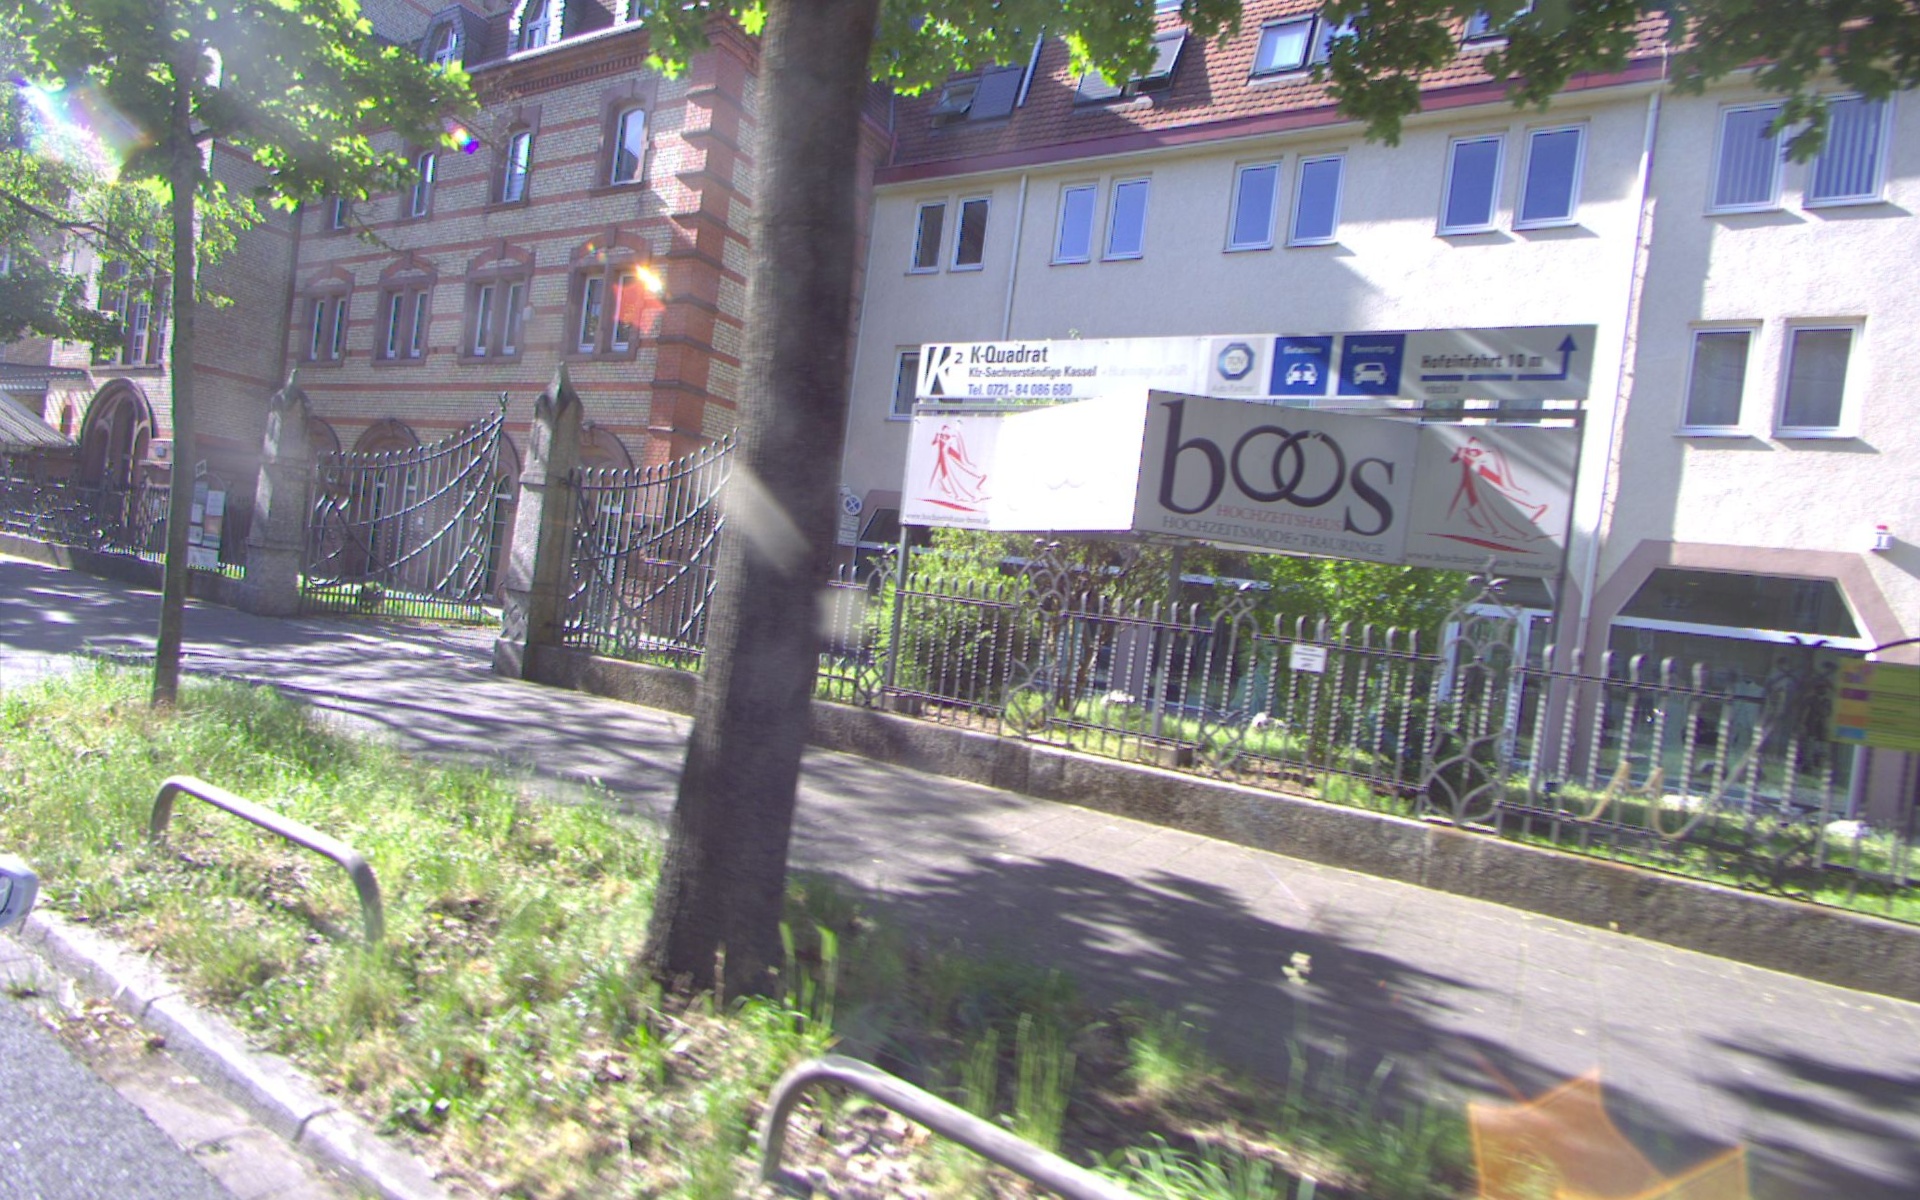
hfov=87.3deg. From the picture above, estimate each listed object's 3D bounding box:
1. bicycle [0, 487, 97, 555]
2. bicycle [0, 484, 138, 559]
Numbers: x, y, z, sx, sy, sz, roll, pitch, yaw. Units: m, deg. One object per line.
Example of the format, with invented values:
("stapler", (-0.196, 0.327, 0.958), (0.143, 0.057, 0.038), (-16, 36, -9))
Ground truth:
("bicycle", (-19.572, -1.692, 21.005), (0.675, 1.192, 2.202), (6, -2, 25))
("bicycle", (-18.395, -1.585, 20.653), (0.675, 1.192, 2.202), (6, -2, 25))
